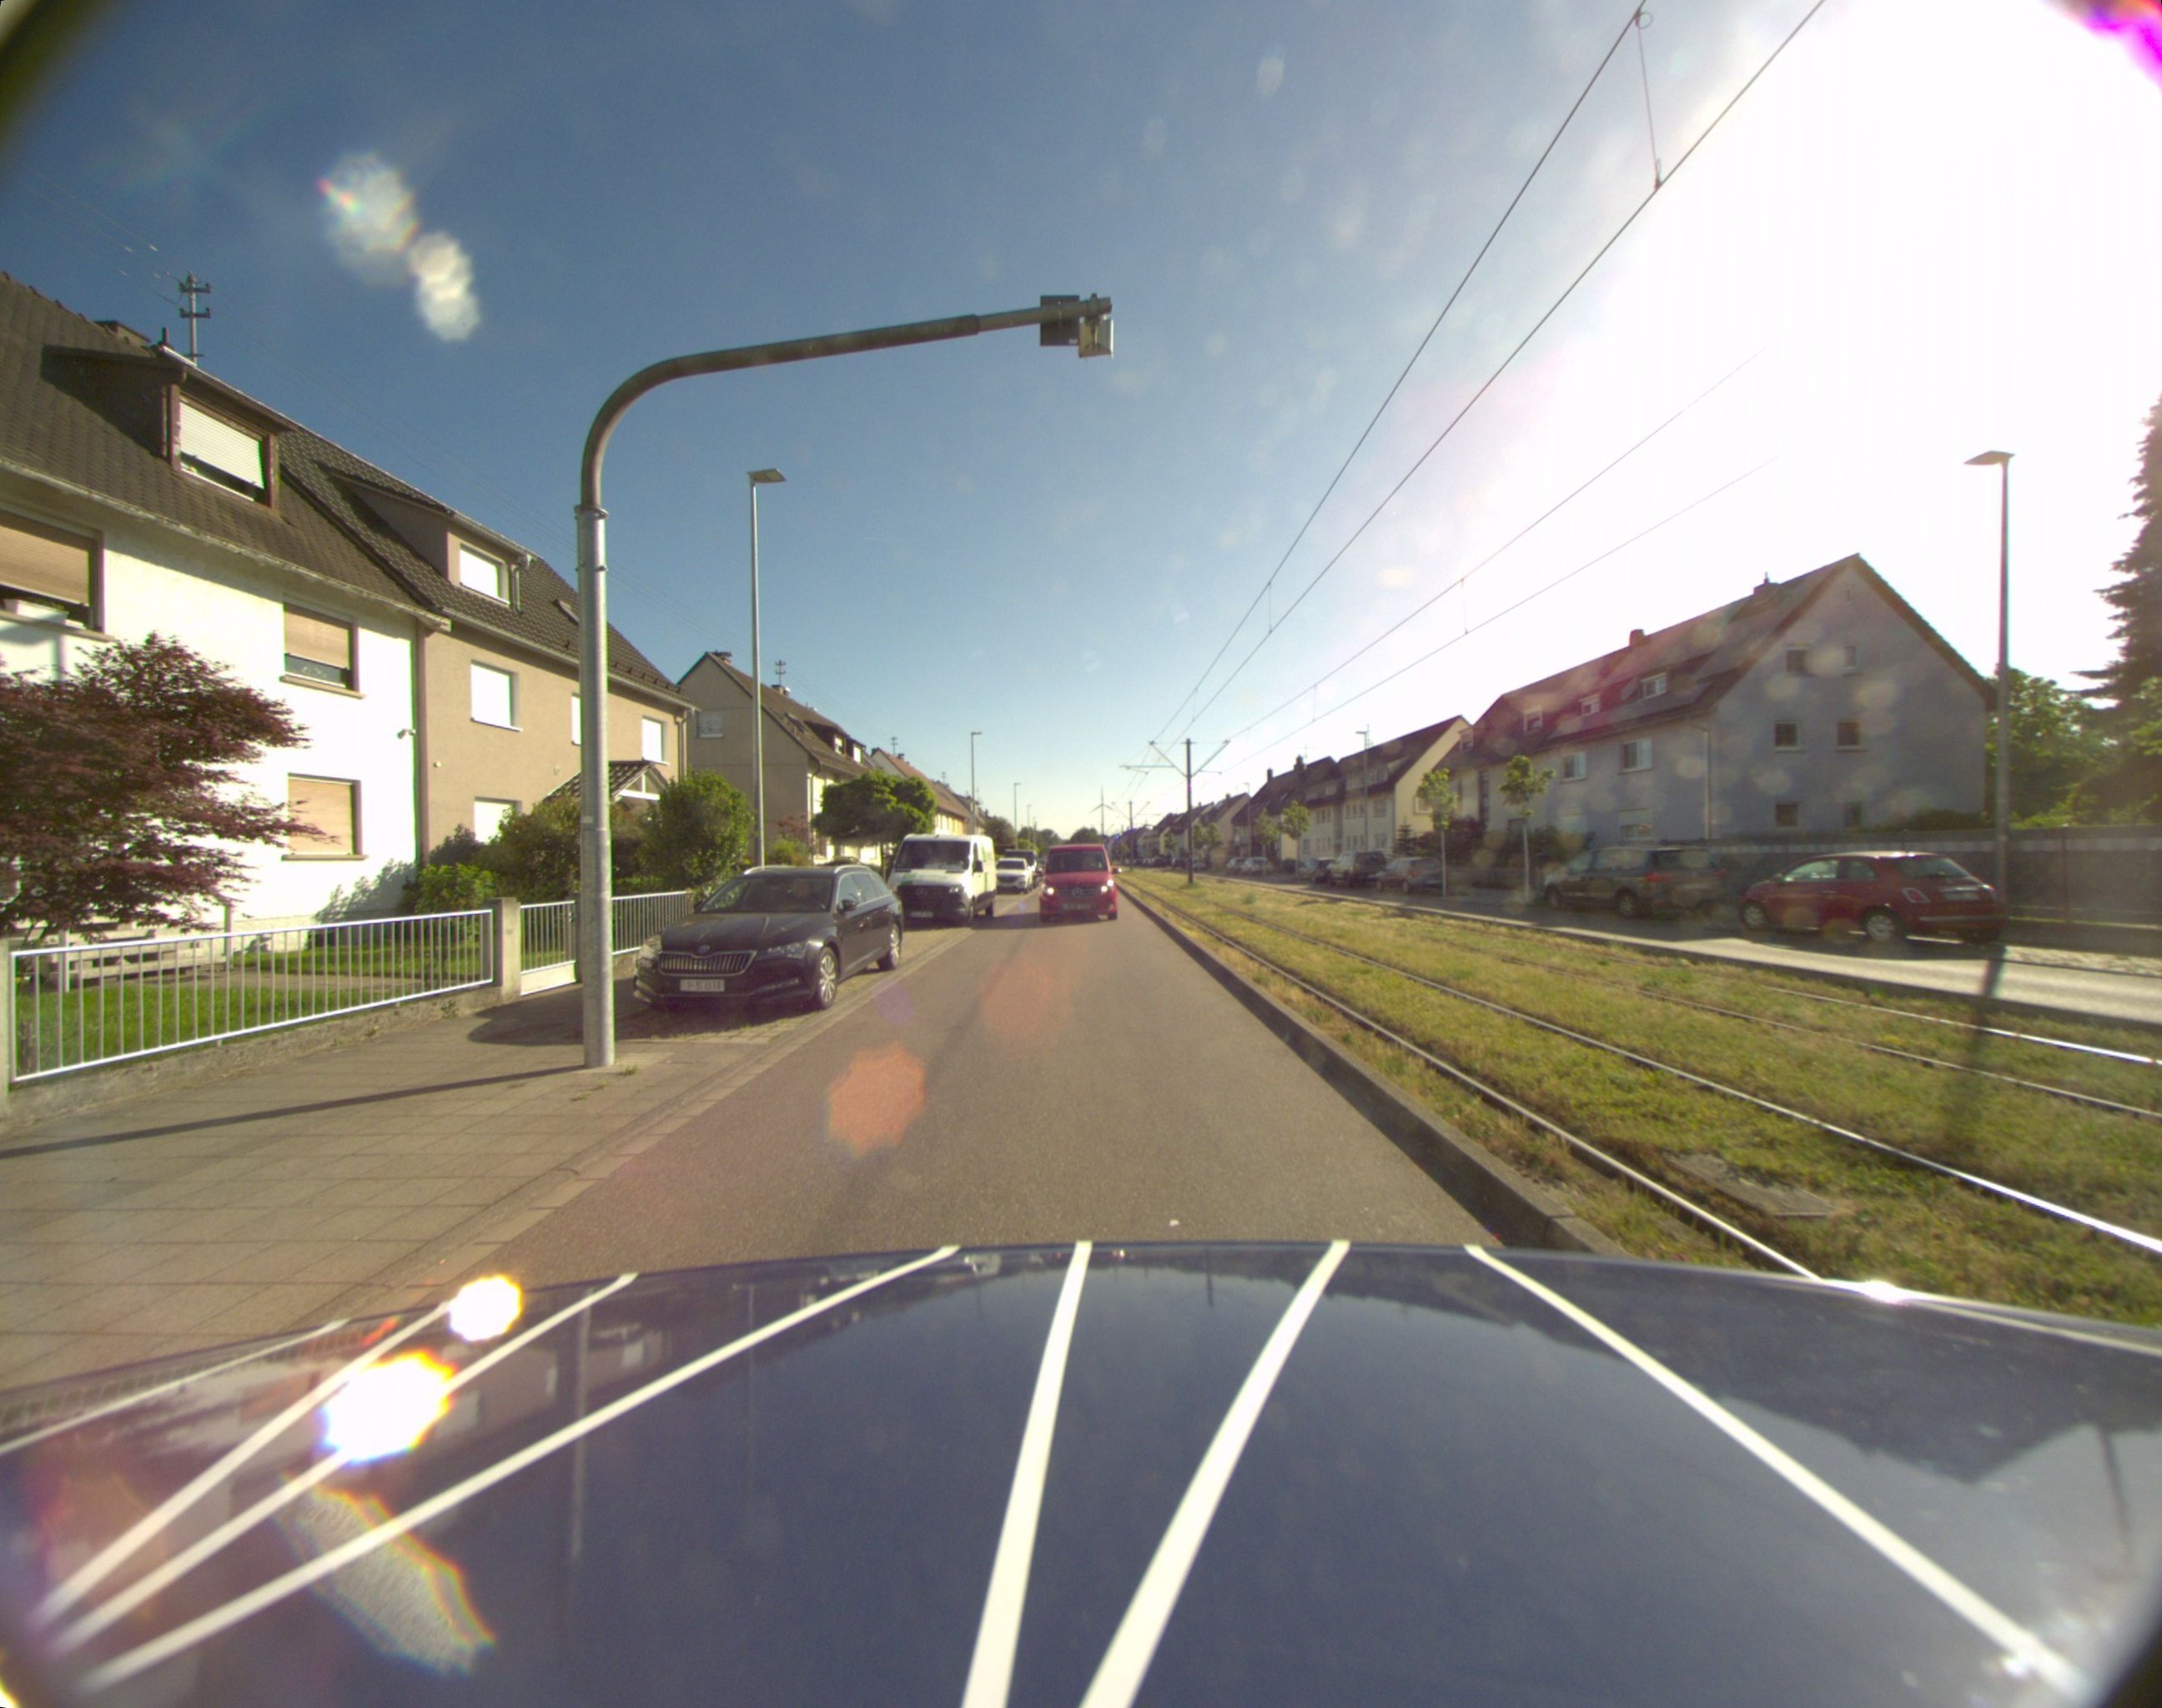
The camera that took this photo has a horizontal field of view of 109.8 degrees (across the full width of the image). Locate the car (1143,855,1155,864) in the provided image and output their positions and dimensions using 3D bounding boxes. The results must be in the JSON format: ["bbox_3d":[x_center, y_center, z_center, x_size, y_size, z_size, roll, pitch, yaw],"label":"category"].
[{"bbox_3d":[12.036,0.937,134.363,1.658,1.447,4.399,-2,0,-2],"label":"car"}]

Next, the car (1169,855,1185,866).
[{"bbox_3d":[12.990,0.865,102.549,1.623,1.503,4.085,-2,0,0],"label":"car"}]

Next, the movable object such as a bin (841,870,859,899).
[{"bbox_3d":[-8.367,1.100,27.512,0.516,1.038,0.464,0,0,0],"label":"movable object such as a bin"}]

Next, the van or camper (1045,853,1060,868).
[{"bbox_3d":[-3.819,0.838,100.981,1.954,1.836,5.581,0,0,-2],"label":"van or camper"}]

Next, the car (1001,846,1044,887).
[{"bbox_3d":[-3.153,0.654,42.198,1.965,2.131,5.335,0,0,0],"label":"car"}]

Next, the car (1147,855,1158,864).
[{"bbox_3d":[12.148,0.923,129.263,1.469,1.459,3.998,0,0,-2],"label":"car"}]

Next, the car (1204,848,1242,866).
[{"bbox_3d":[18.293,0.359,98.306,4.472,2.068,1.787,-4,1,0],"label":"car"}]

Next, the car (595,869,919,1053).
[{"bbox_3d":[-3.444,1.010,9.368,1.753,1.485,5.154,1,1,0],"label":"car"}]

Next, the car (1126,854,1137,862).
[{"bbox_3d":[10.688,0.868,161.164,1.832,1.522,4.091,-2,1,-2],"label":"car"}]

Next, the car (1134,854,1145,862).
[{"bbox_3d":[11.502,0.756,149.209,1.705,1.389,4.091,-2,1,-2],"label":"car"}]

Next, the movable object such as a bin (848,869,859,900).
[{"bbox_3d":[-8.206,1.108,27.399,0.280,1.089,0.329,-2,1,-29],"label":"movable object such as a bin"}]

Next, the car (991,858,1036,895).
[{"bbox_3d":[-3.170,1.027,36.342,1.730,1.636,4.318,1,0,0],"label":"car"}]

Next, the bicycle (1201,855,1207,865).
[{"bbox_3d":[15.596,0.778,96.402,0.478,1.156,1.872,-2,1,5],"label":"bicycle"}]

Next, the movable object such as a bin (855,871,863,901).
[{"bbox_3d":[-8.103,1.169,27.747,0.215,1.057,0.321,-2,1,-29],"label":"movable object such as a bin"}]

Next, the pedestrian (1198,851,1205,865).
[{"bbox_3d":[15.245,0.503,96.234,0.617,1.805,0.678,-2,1,-9],"label":"pedestrian"}]

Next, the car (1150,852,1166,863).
[{"bbox_3d":[12.561,0.579,123.990,1.926,1.551,4.857,-2,1,-2],"label":"car"}]

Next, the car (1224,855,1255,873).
[{"bbox_3d":[13.866,0.828,66.659,1.693,1.464,4.313,-2,1,-2],"label":"car"}]

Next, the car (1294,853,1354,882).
[{"bbox_3d":[14.070,0.754,44.290,1.965,1.531,4.556,-2,1,0],"label":"car"}]

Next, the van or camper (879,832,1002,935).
[{"bbox_3d":[-3.441,0.624,19.992,1.998,2.258,6.304,1,1,0],"label":"van or camper"}]

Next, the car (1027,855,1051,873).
[{"bbox_3d":[-3.595,0.855,65.970,1.782,1.490,4.728,0,0,1],"label":"car"}]

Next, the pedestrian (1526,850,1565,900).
[{"bbox_3d":[15.720,0.709,25.726,0.697,1.630,0.919,-2,1,-2],"label":"pedestrian"}]

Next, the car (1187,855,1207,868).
[{"bbox_3d":[13.657,0.906,89.565,1.662,1.428,4.102,-1,0,-2],"label":"car"}]

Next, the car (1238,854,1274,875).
[{"bbox_3d":[13.922,0.809,60.590,1.693,1.467,4.442,-2,1,-2],"label":"car"}]

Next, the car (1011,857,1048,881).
[{"bbox_3d":[-3.271,0.919,48.993,1.857,1.435,5.613,1,0,1],"label":"car"}]

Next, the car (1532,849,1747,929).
[{"bbox_3d":[13.632,0.762,19.019,1.824,1.674,4.846,-3,0,1],"label":"car"}]

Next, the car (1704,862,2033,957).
[{"bbox_3d":[13.640,0.869,13.593,1.699,1.396,4.078,0,0,1],"label":"car"}]

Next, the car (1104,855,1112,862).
[{"bbox_3d":[6.221,1.065,177.194,1.693,1.467,3.679,-2,1,-1],"label":"car"}]

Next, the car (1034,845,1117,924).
[{"bbox_3d":[-0.208,0.728,21.399,1.999,1.889,5.389,-2,0,-2],"label":"car"}]

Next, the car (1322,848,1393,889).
[{"bbox_3d":[13.744,0.674,38.075,1.749,1.812,4.841,-3,0,0],"label":"car"}]

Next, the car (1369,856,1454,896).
[{"bbox_3d":[13.818,0.861,32.027,1.680,1.482,4.049,-3,0,-2],"label":"car"}]
